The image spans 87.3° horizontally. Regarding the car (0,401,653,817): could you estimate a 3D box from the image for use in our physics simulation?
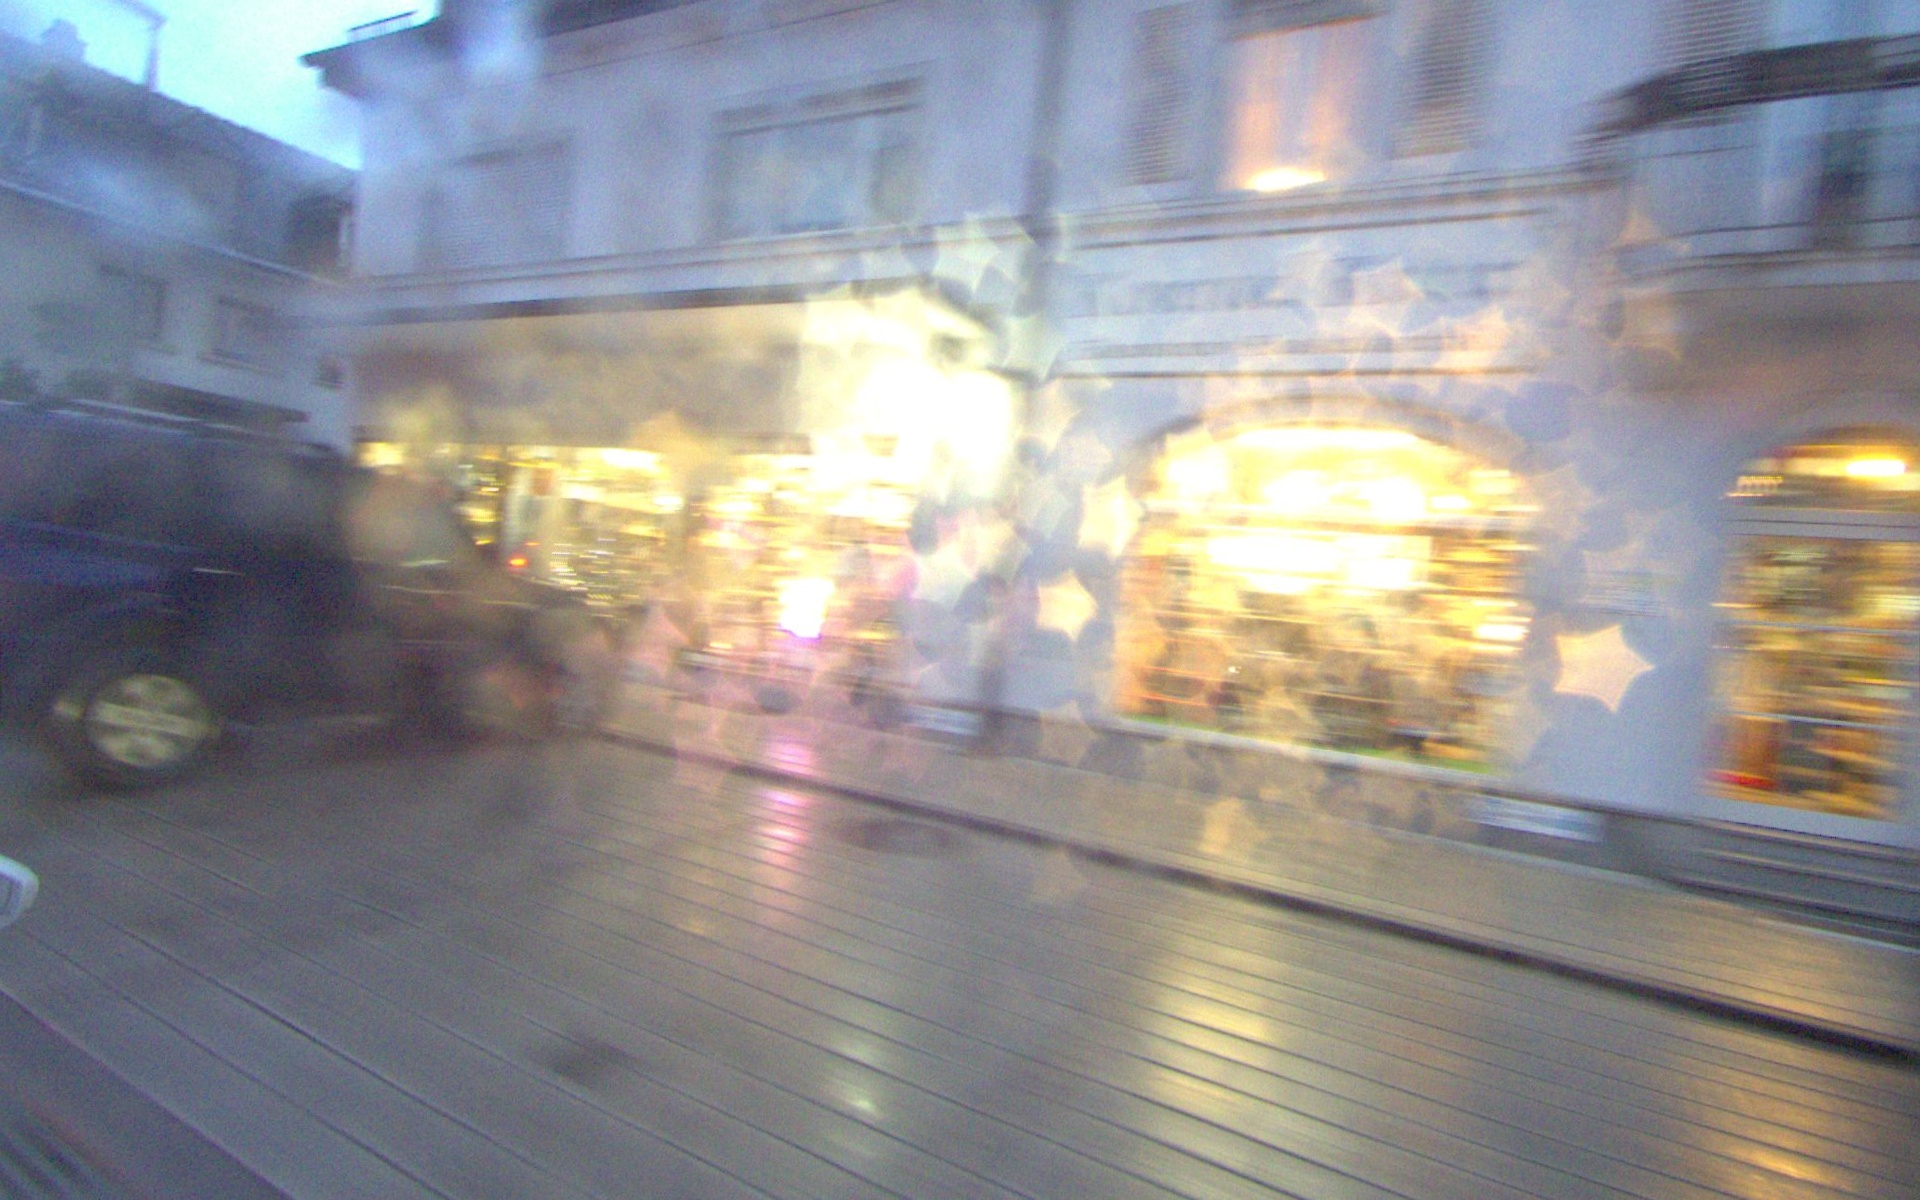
[{"bbox_3d":[-4.314,0.008,6.156,1.911,1.798,4.612,7,1,25],"label":"car"}]

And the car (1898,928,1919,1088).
[{"bbox_3d":[3.661,0.991,1.806,1.685,1.703,3.509,7,2,25],"label":"car"}]

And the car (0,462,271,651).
[{"bbox_3d":[-8.767,-0.439,9.031,1.652,1.599,3.878,7,1,24],"label":"car"}]
